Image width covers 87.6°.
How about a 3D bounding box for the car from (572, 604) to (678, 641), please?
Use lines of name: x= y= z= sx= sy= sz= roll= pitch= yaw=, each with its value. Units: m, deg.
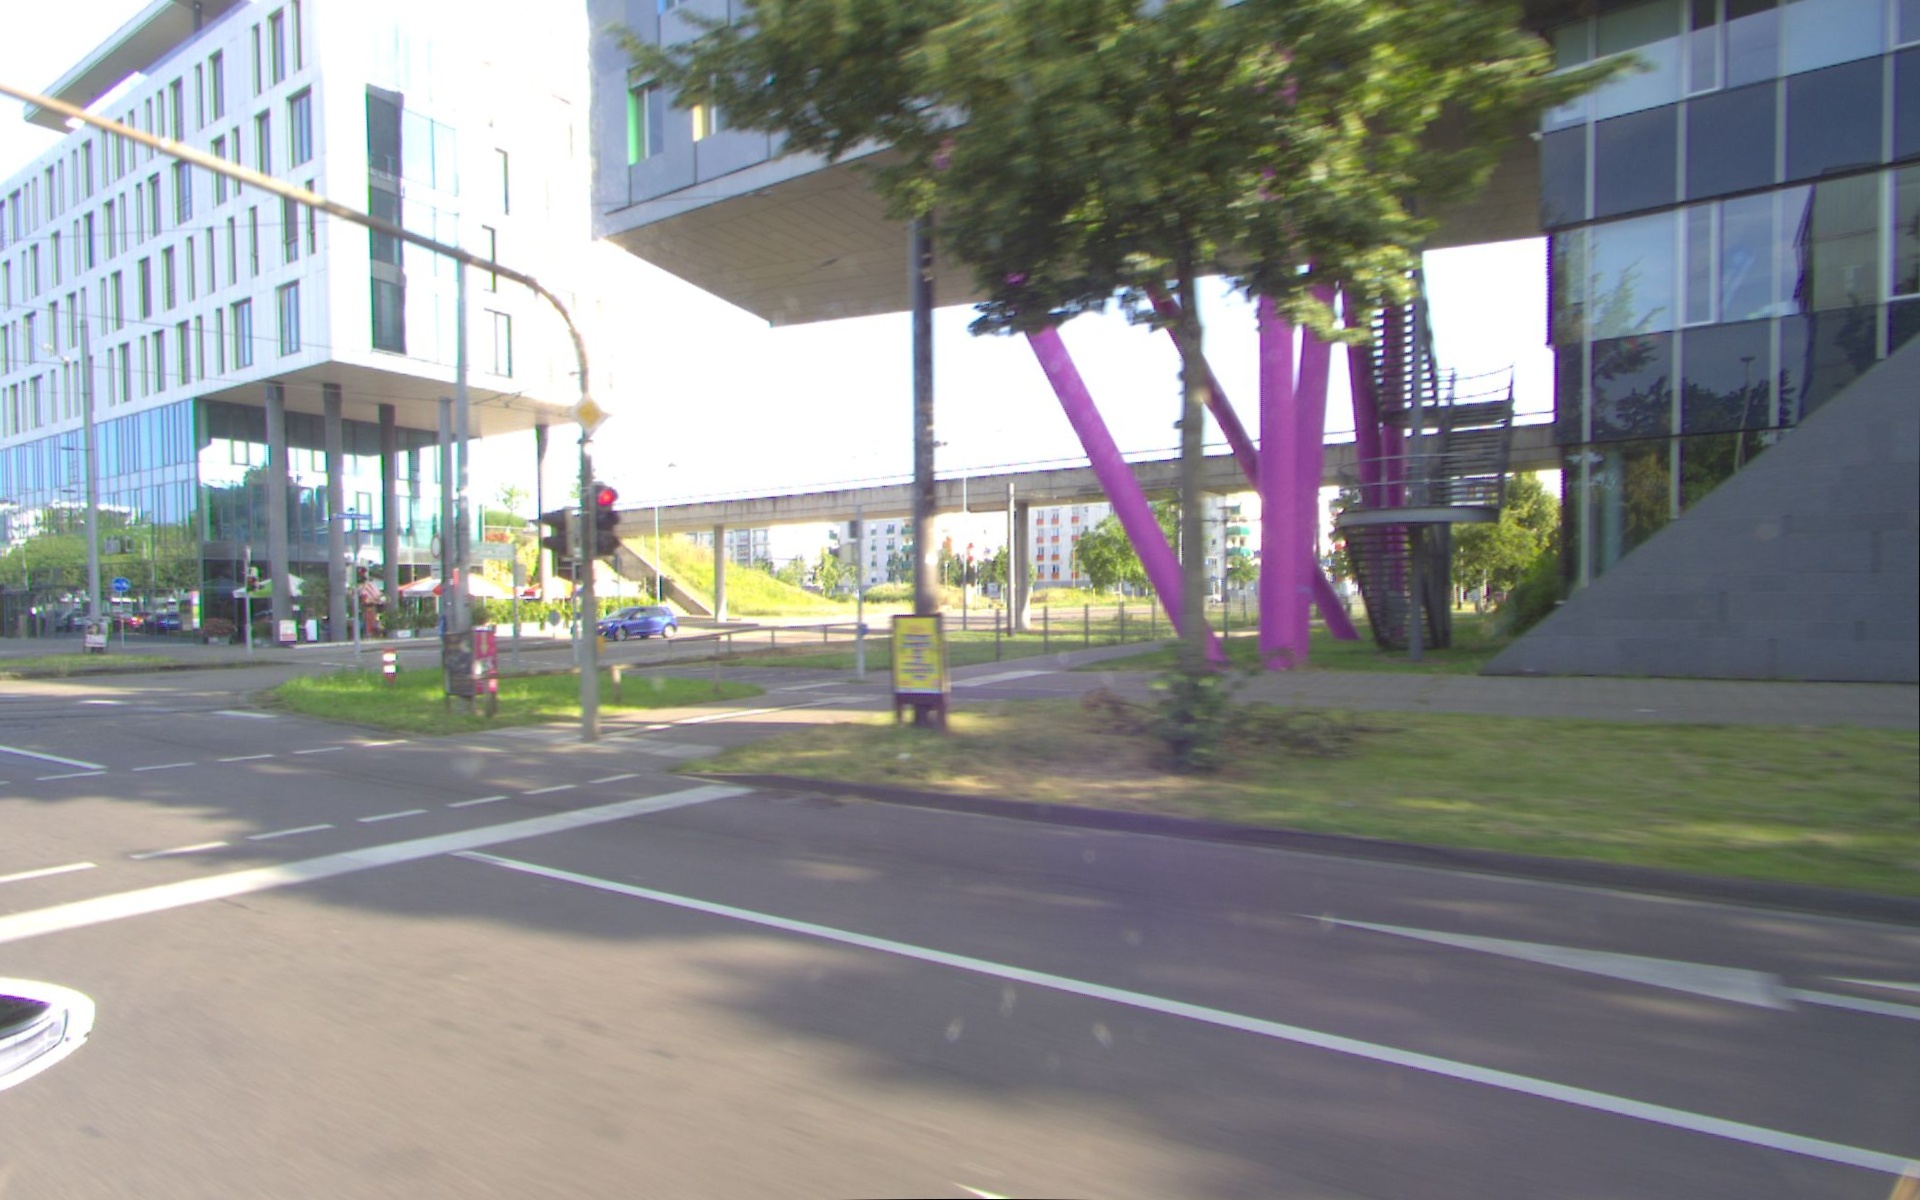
car: x=-14.454 y=0.932 z=43.466 sx=1.832 sy=1.443 sz=4.175 roll=0 pitch=1 yaw=32
